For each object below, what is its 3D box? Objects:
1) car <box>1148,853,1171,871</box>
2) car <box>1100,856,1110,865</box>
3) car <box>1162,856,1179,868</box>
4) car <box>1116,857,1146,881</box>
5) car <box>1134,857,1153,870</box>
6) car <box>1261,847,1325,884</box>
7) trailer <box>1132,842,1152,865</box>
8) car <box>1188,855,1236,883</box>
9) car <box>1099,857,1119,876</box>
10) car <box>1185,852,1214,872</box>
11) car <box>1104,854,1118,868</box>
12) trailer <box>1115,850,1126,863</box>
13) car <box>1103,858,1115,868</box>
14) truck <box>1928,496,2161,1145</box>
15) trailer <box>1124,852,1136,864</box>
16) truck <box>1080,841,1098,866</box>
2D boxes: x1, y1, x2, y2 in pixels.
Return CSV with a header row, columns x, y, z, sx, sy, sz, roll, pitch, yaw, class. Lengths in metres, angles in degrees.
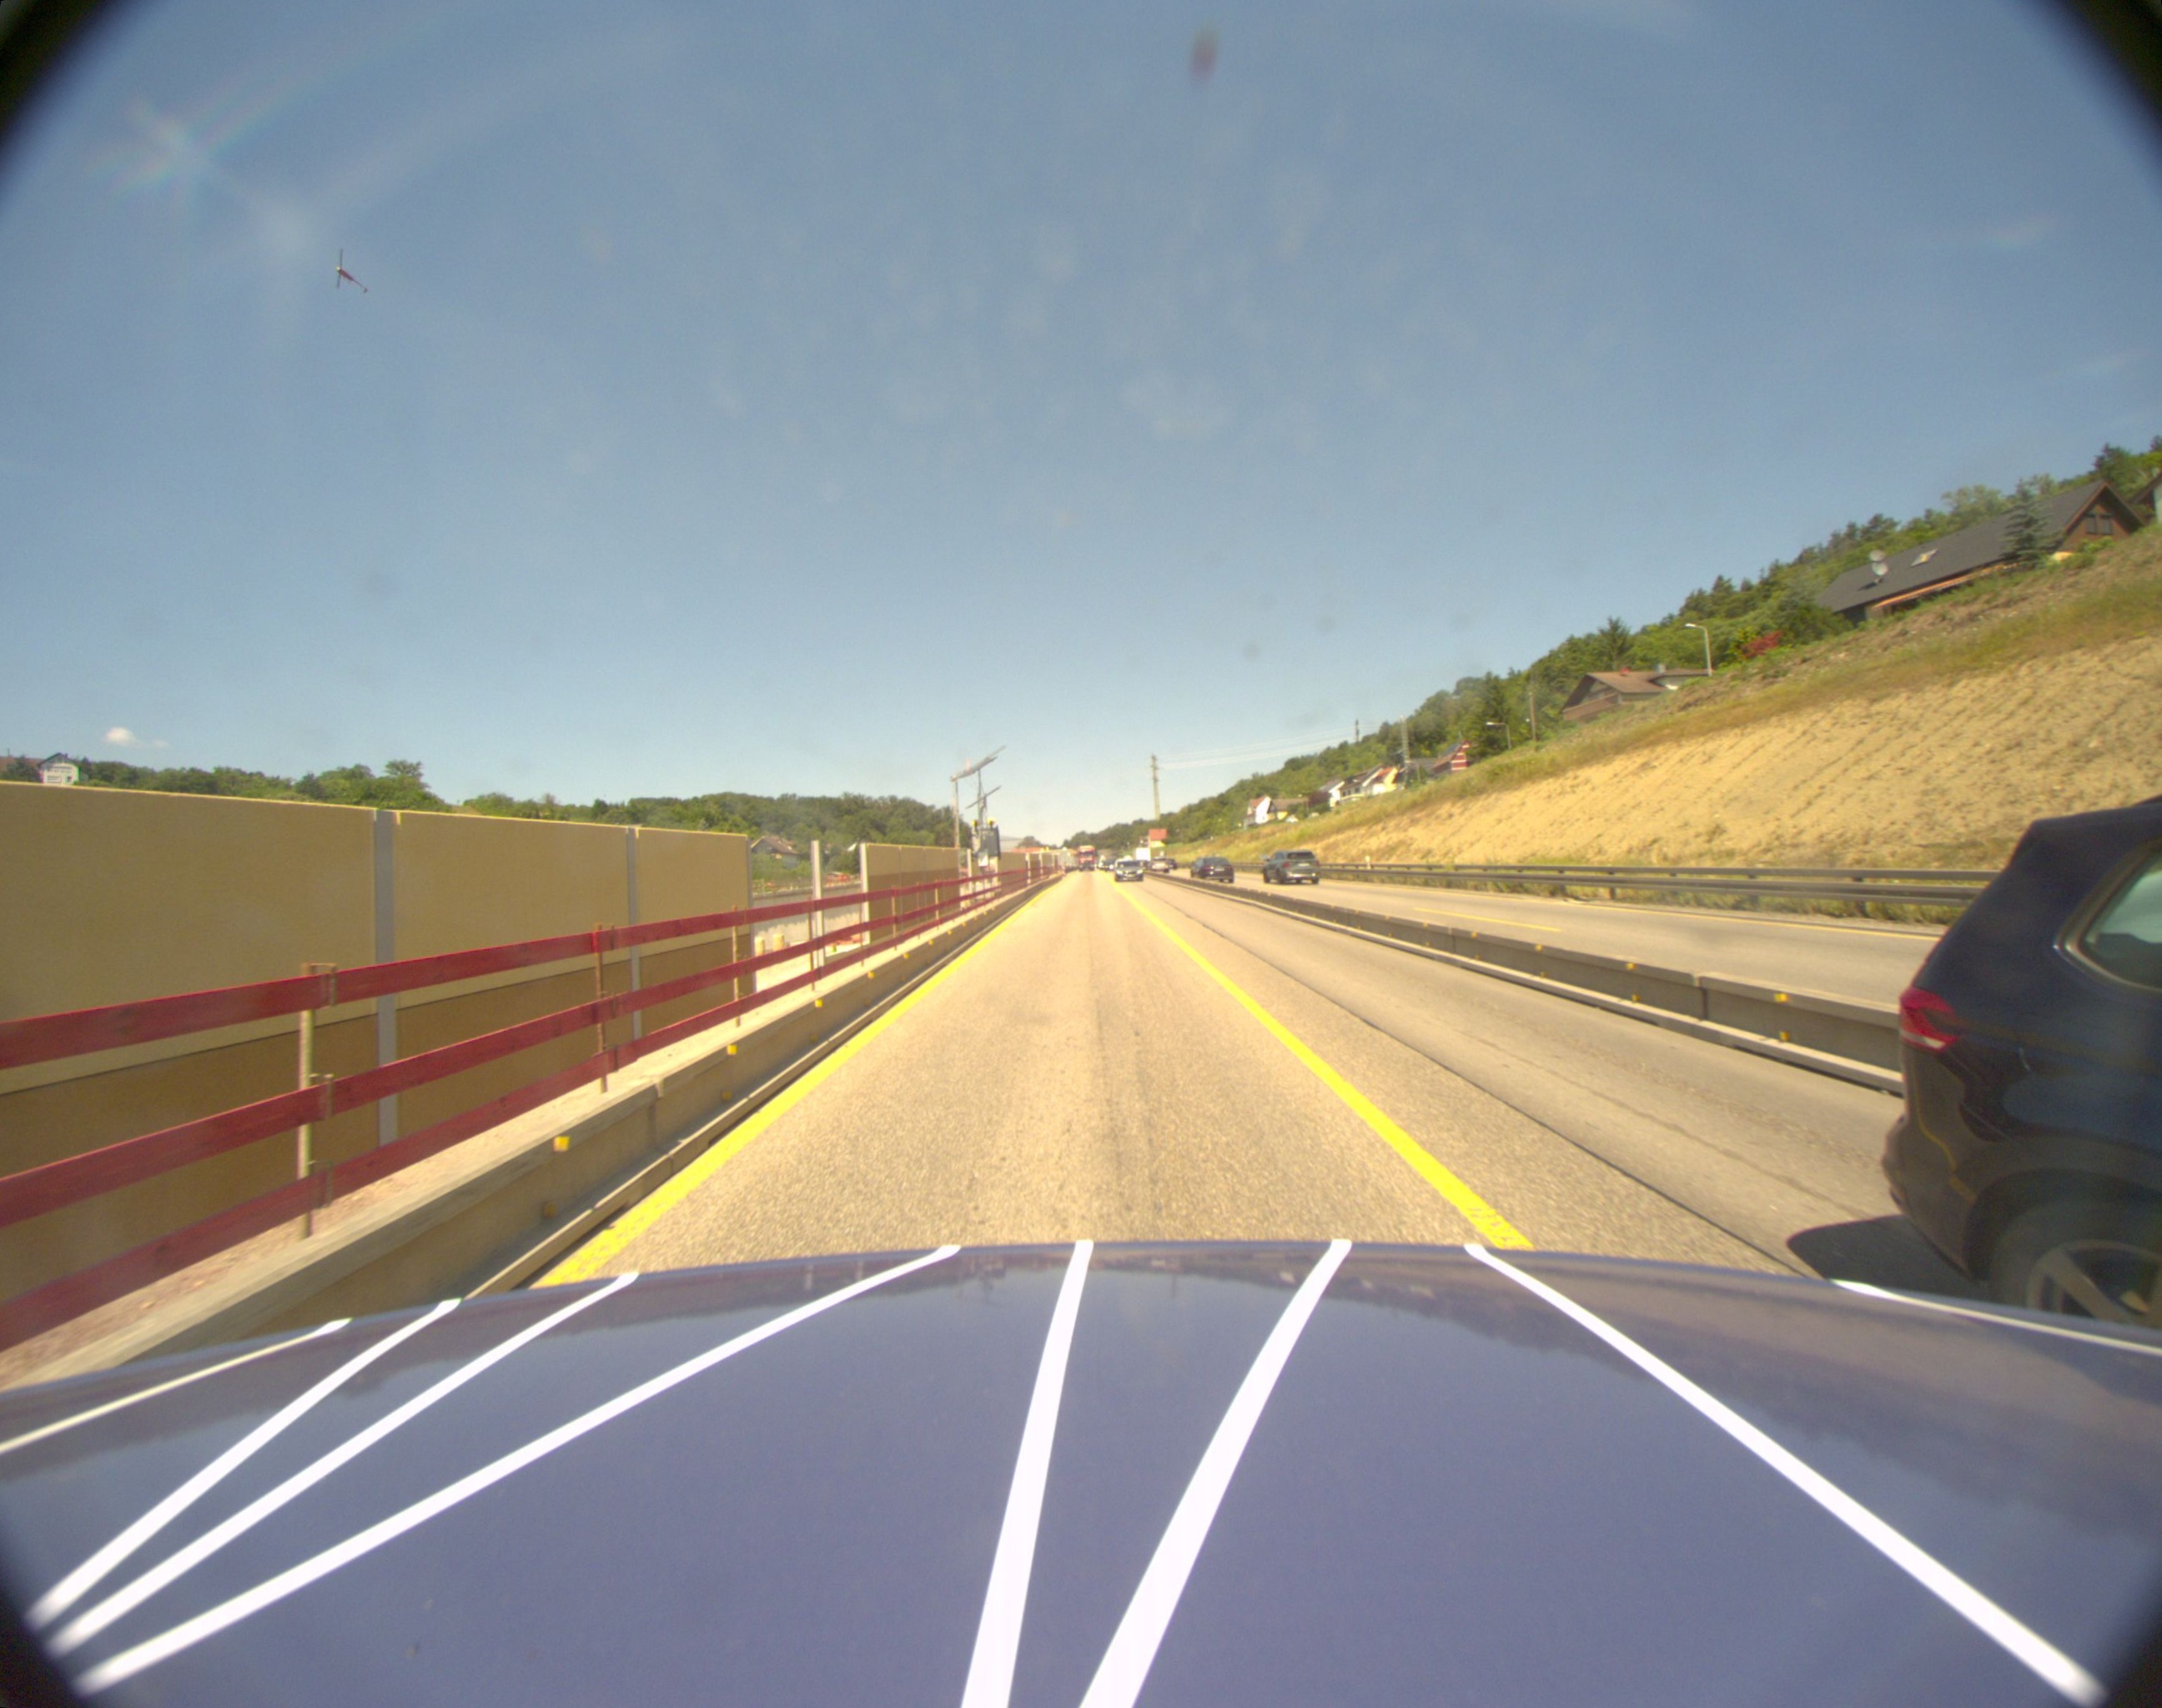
x,y,z,sx,sy,sz,roll,pitch,yaw,class
7.772,0.733,75.422,1.849,1.655,4.688,-2,0,1,car
4.346,1.249,139.606,1.780,1.485,4.337,-2,-1,1,car
11.415,0.978,97.141,1.714,1.410,4.243,-2,0,1,car
3.329,1.011,51.119,1.780,1.447,4.337,-2,-1,1,car
7.628,1.109,92.749,1.960,1.490,5.090,-2,0,1,car
10.350,0.558,37.516,1.858,1.662,4.668,-2,0,0,car
12.122,-0.033,151.634,2.793,4.157,13.980,-2,0,1,trailer
7.243,0.788,42.438,1.801,1.419,4.950,-2,0,0,car
2.606,1.196,70.939,1.780,1.682,4.337,-2,-1,1,car
10.205,0.689,65.832,1.689,1.576,5.126,-2,0,1,car
3.936,0.909,101.396,1.780,1.727,4.337,-2,-1,1,car
12.860,0.935,247.873,2.920,3.915,10.528,-2,-1,1,trailer
4.408,1.385,120.224,1.780,1.485,4.337,-2,-1,1,car
6.838,-0.211,1.450,2.544,3.354,7.038,-2,0,0,truck
12.408,0.983,193.074,2.619,2.983,6.371,-2,0,1,trailer
1.401,0.043,122.466,2.605,3.703,10.538,-2,-1,1,truck
